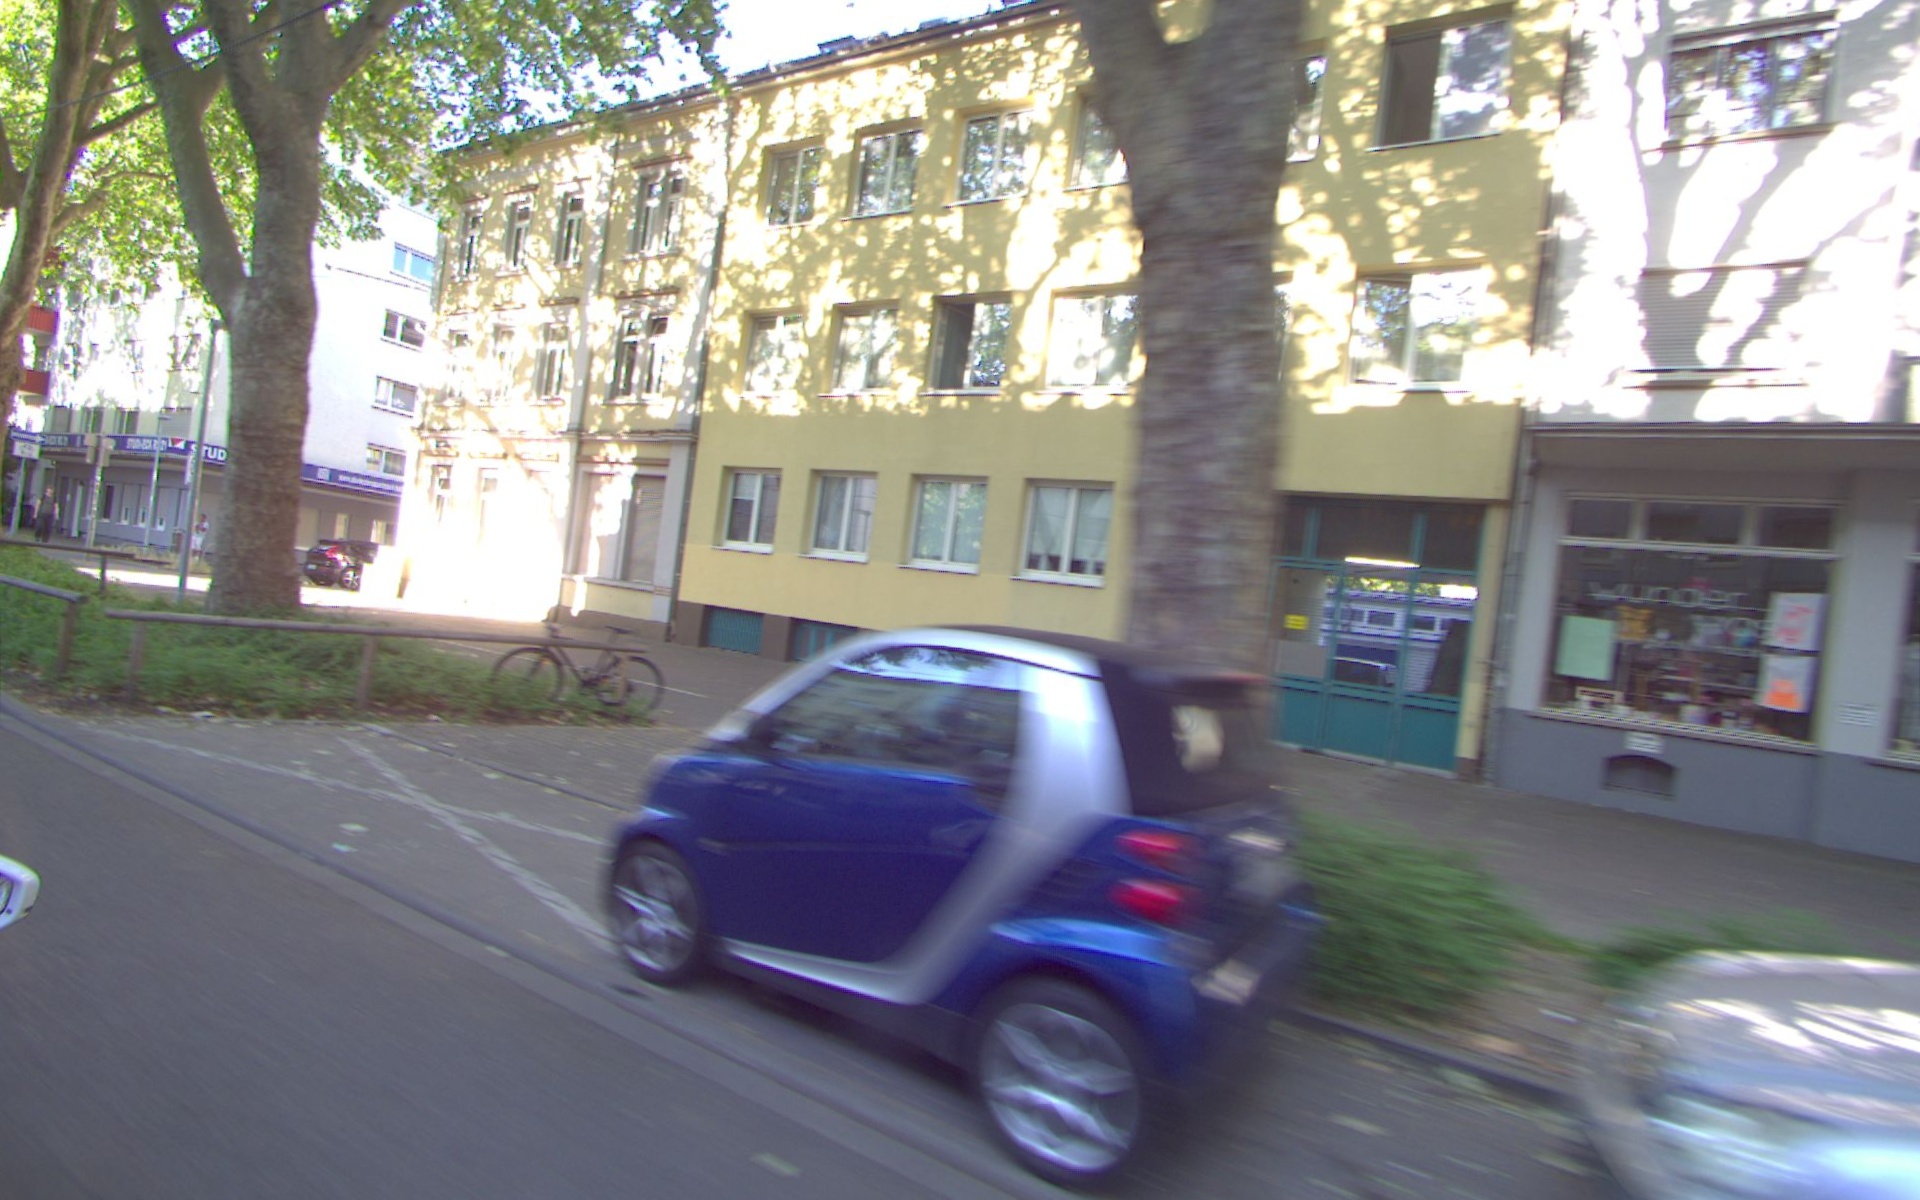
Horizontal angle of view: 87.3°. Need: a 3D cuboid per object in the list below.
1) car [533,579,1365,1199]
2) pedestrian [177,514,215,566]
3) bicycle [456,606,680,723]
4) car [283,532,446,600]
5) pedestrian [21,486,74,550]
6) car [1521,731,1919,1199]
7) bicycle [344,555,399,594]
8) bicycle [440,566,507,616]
[{"bbox_3d":[-0.115,0.850,4.061,2.864,1.537,1.564,6,0,34],"label":"car"},{"bbox_3d":[-26.781,-2.103,35.269,0.655,1.664,0.747,7,-1,33],"label":"pedestrian"},{"bbox_3d":[-3.836,0.658,9.930,1.948,1.019,0.507,5,1,-32],"label":"bicycle"},{"bbox_3d":[-19.801,-1.083,33.646,1.966,1.611,4.140,7,-2,30],"label":"car"},{"bbox_3d":[-29.758,-2.667,32.806,1.168,1.889,0.768,7,0,28],"label":"pedestrian"},{"bbox_3d":[3.678,1.342,1.788,4.524,1.453,1.820,6,0,29],"label":"car"},{"bbox_3d":[-18.071,-0.760,30.916,0.559,1.018,1.836,7,-2,-3],"label":"bicycle"},{"bbox_3d":[-12.892,-0.247,26.637,1.891,1.118,0.583,7,1,32],"label":"bicycle"}]
